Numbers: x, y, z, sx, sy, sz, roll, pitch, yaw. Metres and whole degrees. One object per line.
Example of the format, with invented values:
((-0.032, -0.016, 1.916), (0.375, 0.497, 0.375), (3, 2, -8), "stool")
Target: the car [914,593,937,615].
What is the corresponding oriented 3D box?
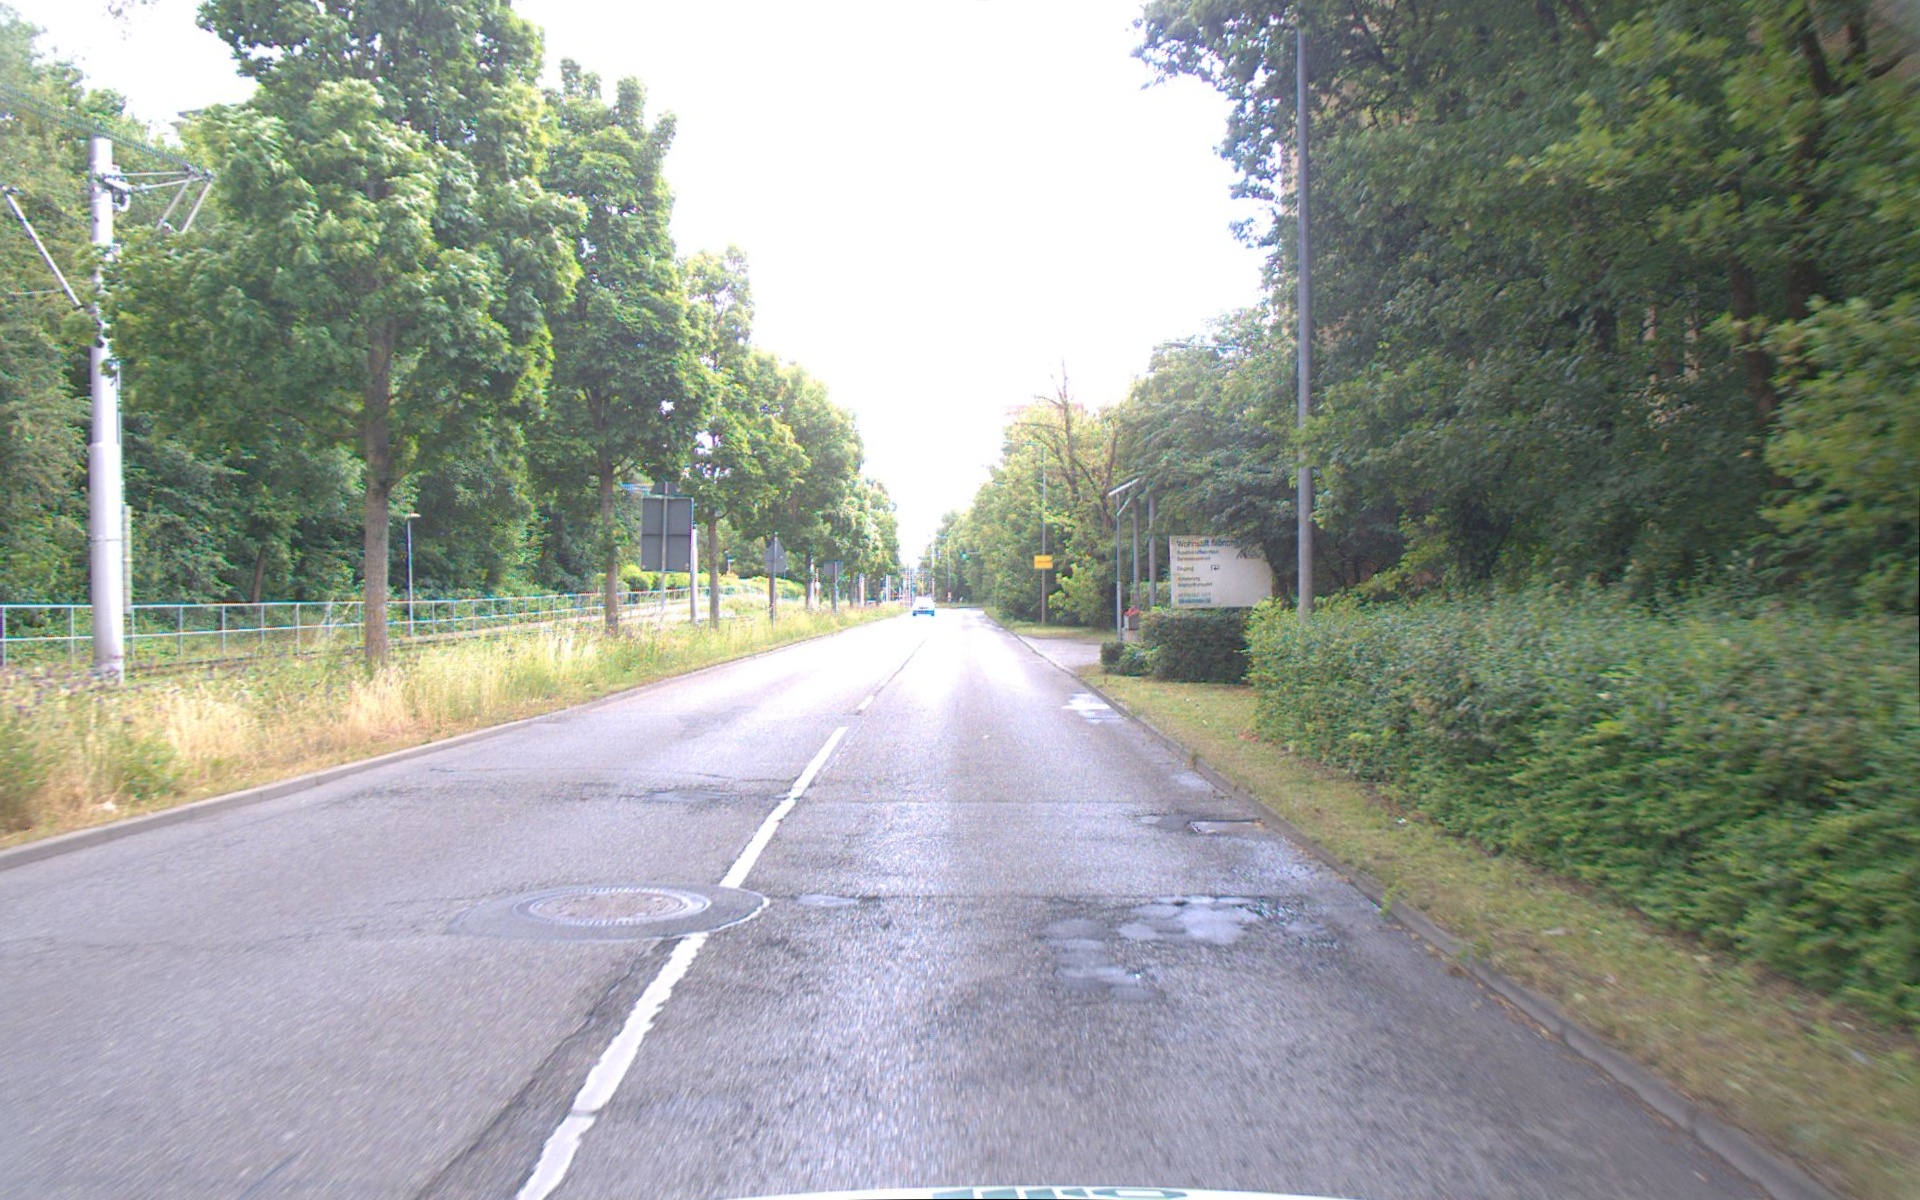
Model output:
((-2.792, 0.318, 133.879), (1.681, 1.658, 4.000), (2, 0, 0), "car")
